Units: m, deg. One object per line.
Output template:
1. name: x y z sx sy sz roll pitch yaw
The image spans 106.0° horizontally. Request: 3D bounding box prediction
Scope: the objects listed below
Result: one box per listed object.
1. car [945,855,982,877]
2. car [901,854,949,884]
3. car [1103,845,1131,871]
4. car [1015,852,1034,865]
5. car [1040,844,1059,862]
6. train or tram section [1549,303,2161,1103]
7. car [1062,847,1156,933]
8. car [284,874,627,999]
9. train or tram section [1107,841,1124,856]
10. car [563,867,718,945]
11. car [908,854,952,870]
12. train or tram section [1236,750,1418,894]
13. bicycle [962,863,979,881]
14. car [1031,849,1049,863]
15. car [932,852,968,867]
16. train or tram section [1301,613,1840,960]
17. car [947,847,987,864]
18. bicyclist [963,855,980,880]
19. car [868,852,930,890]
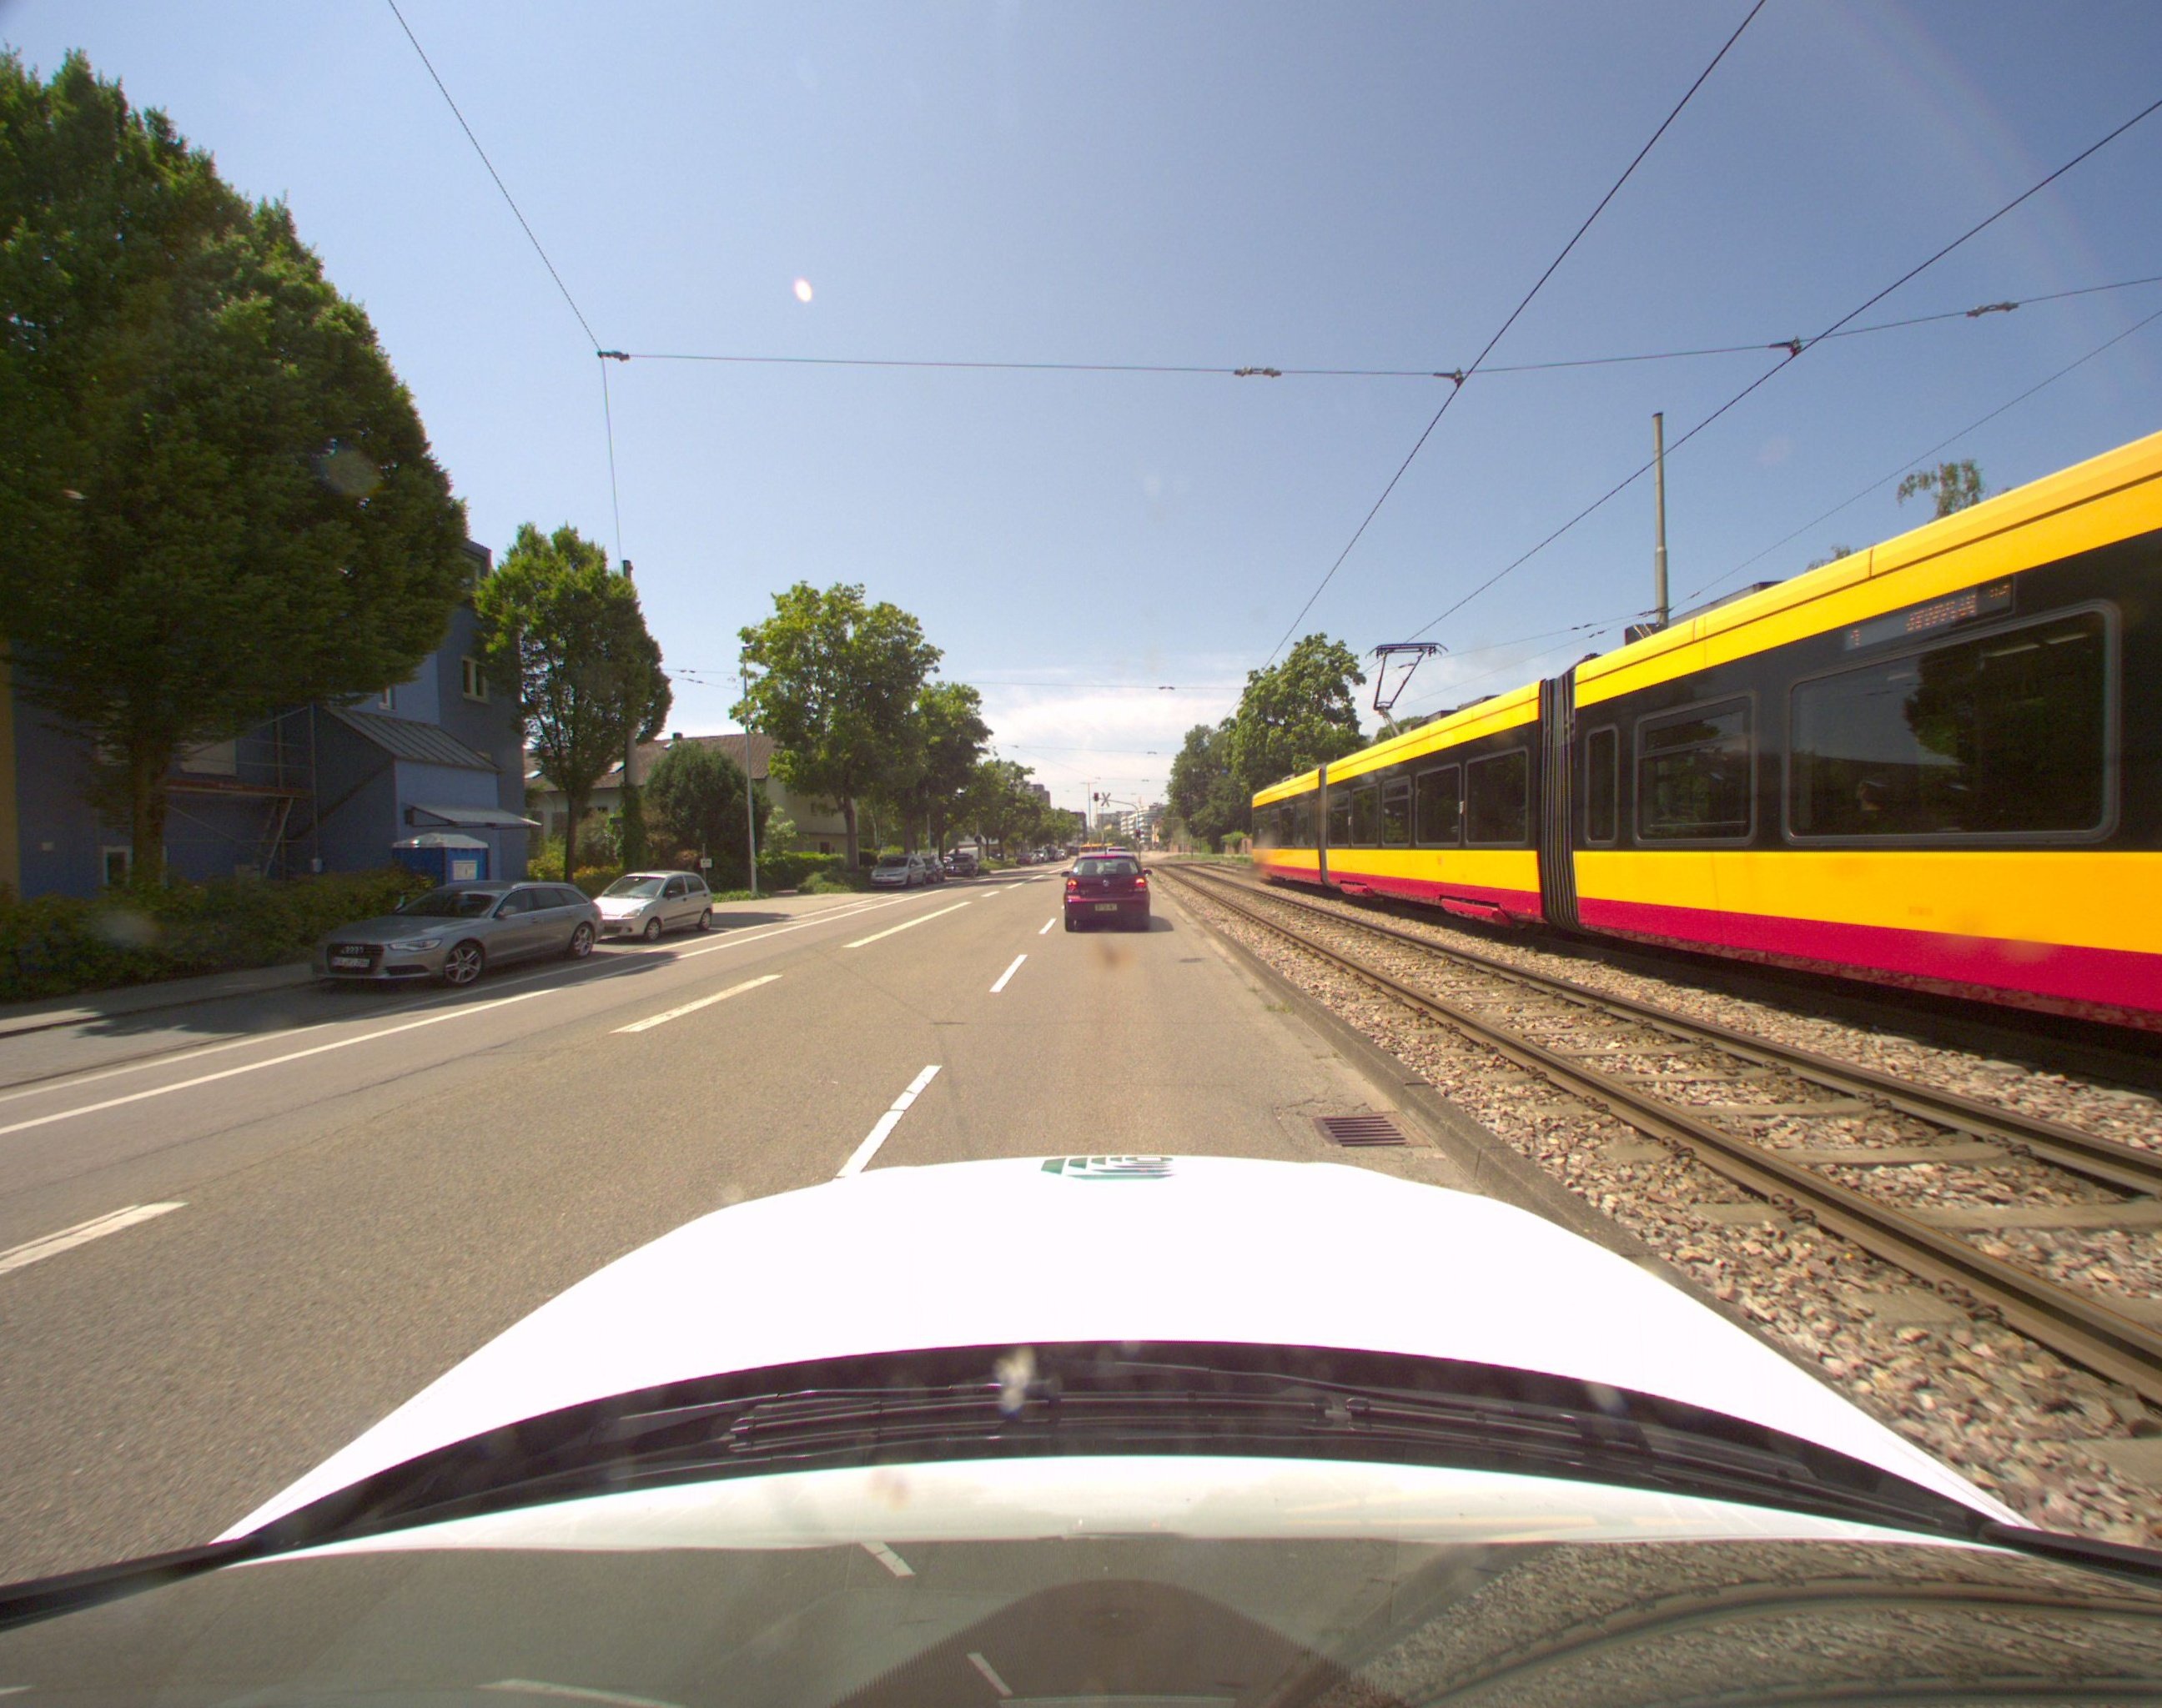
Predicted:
1. car: -8.312 0.813 57.945 1.812 1.476 4.451 -1 0 2
2. car: -8.833 0.806 46.479 1.812 1.564 4.183 -1 0 2
3. car: 2.436 0.241 55.620 1.770 1.647 4.001 -1 0 1
4. car: -6.583 0.566 95.682 1.655 1.497 4.004 0 0 4
5. car: -4.805 -0.167 125.493 2.352 2.692 5.311 0 0 3
6. train or tram section: 6.603 -0.744 2.723 3.016 3.797 13.100 -2 0 3
7. car: 0.556 0.628 16.567 1.666 1.521 4.001 -1 0 1
8. car: -10.112 1.211 13.865 1.780 1.450 5.134 2 1 1
9. train or tram section: 8.521 -1.390 205.315 2.736 3.609 12.849 0 0 -5
10. car: -10.105 1.137 18.979 1.587 1.495 3.450 2 1 2
11. car: -16.889 0.870 91.319 4.319 1.585 1.917 -3 0 7
12. train or tram section: 7.921 -0.912 28.617 3.016 3.797 12.769 -2 0 3
13. bicycle: -6.813 1.093 50.485 0.699 0.951 2.242 -5 1 0
14. car: -5.620 0.233 112.459 1.774 1.881 4.792 0 0 5
15. car: -16.398 0.695 102.077 3.973 1.746 1.999 -3 0 1
16. train or tram section: 7.278 -0.805 15.743 3.016 3.797 13.099 -2 0 3
17. car: -15.707 0.174 112.626 5.076 2.244 2.380 0 -1 3
18. bicyclist: -6.796 0.819 50.569 0.733 1.430 1.124 -5 0 -1
19. car: -9.060 0.797 40.940 1.865 1.664 4.783 -2 1 2
